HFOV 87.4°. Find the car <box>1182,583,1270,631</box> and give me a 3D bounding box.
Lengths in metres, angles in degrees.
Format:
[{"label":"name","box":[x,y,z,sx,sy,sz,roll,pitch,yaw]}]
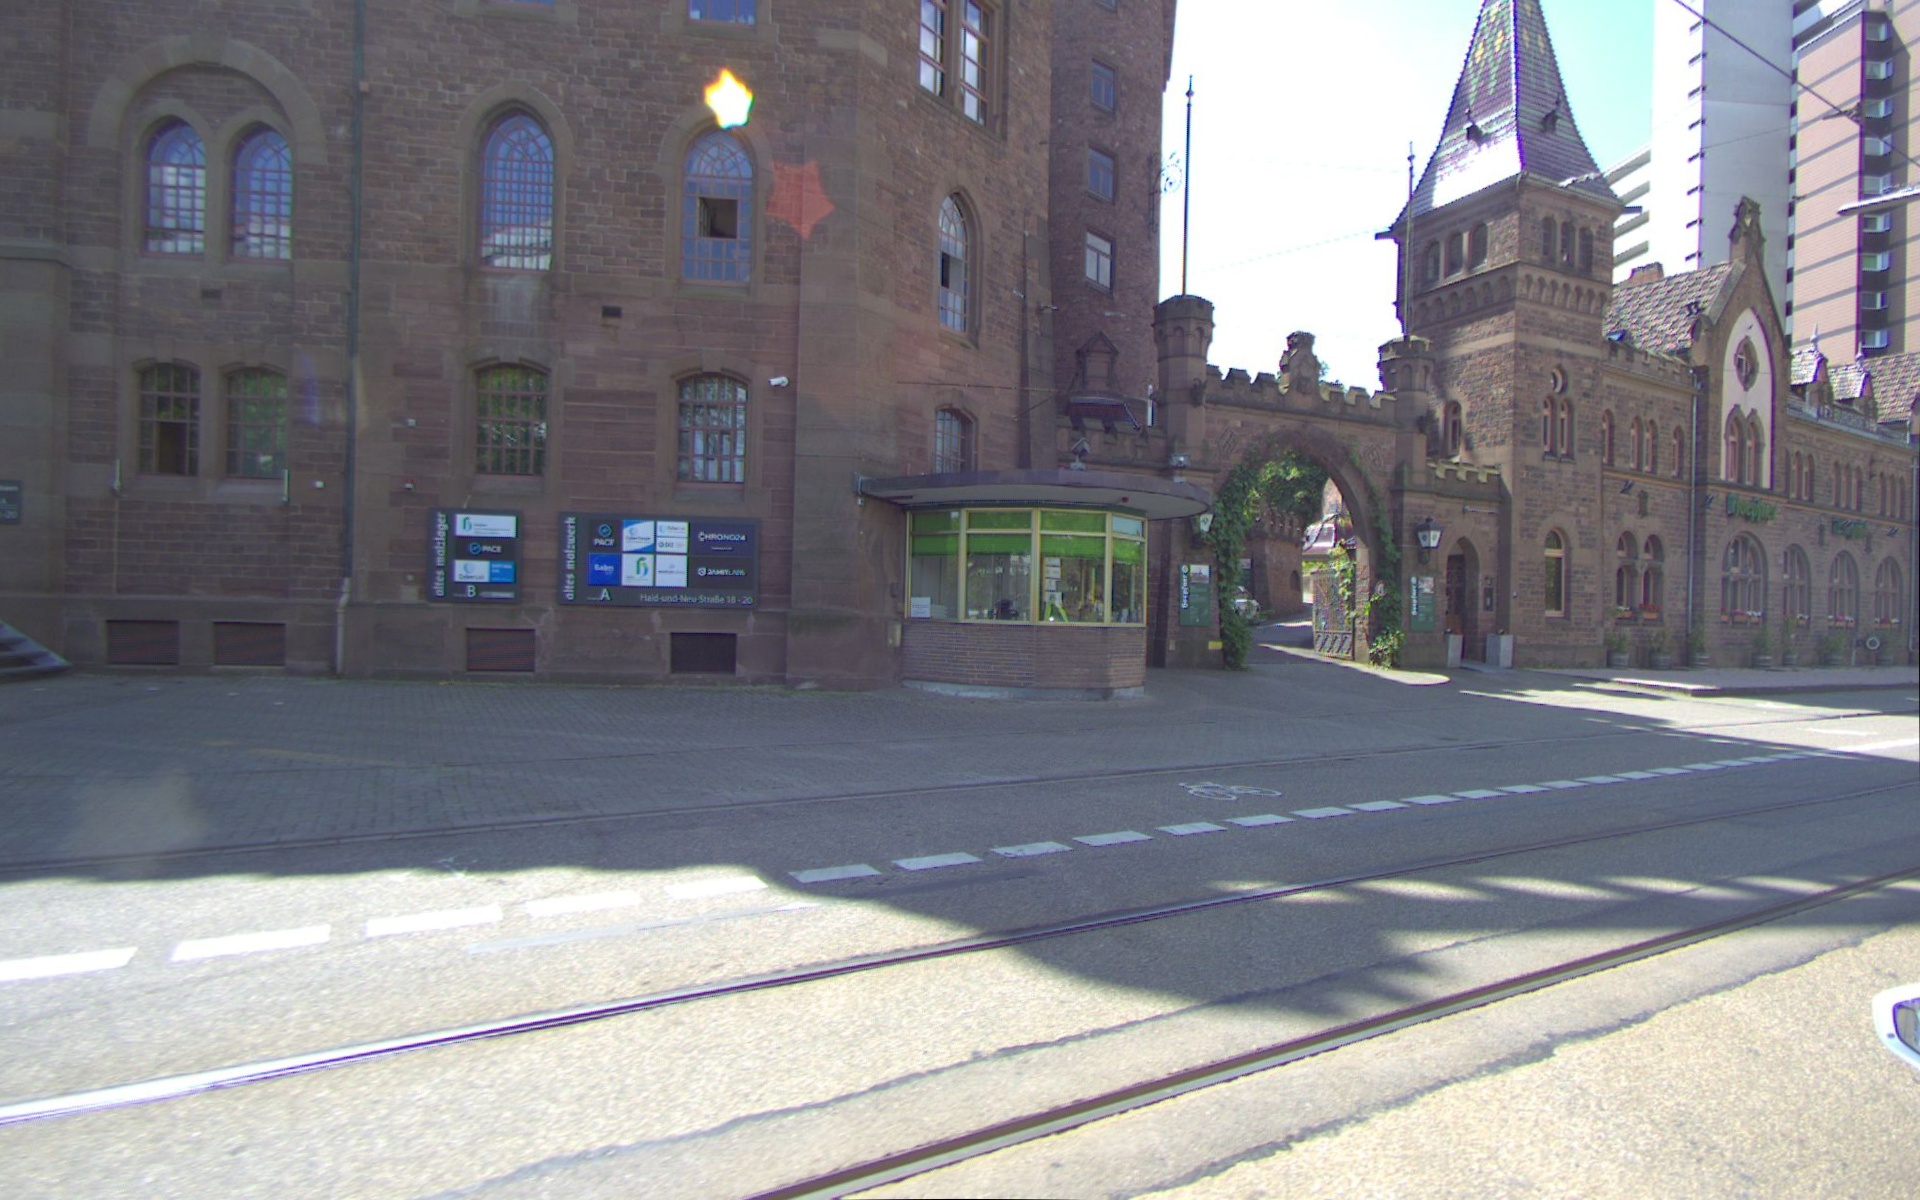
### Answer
[{"label":"car","box":[9.715,0.208,36.533,1.731,1.515,3.984,3,4,36]}]
